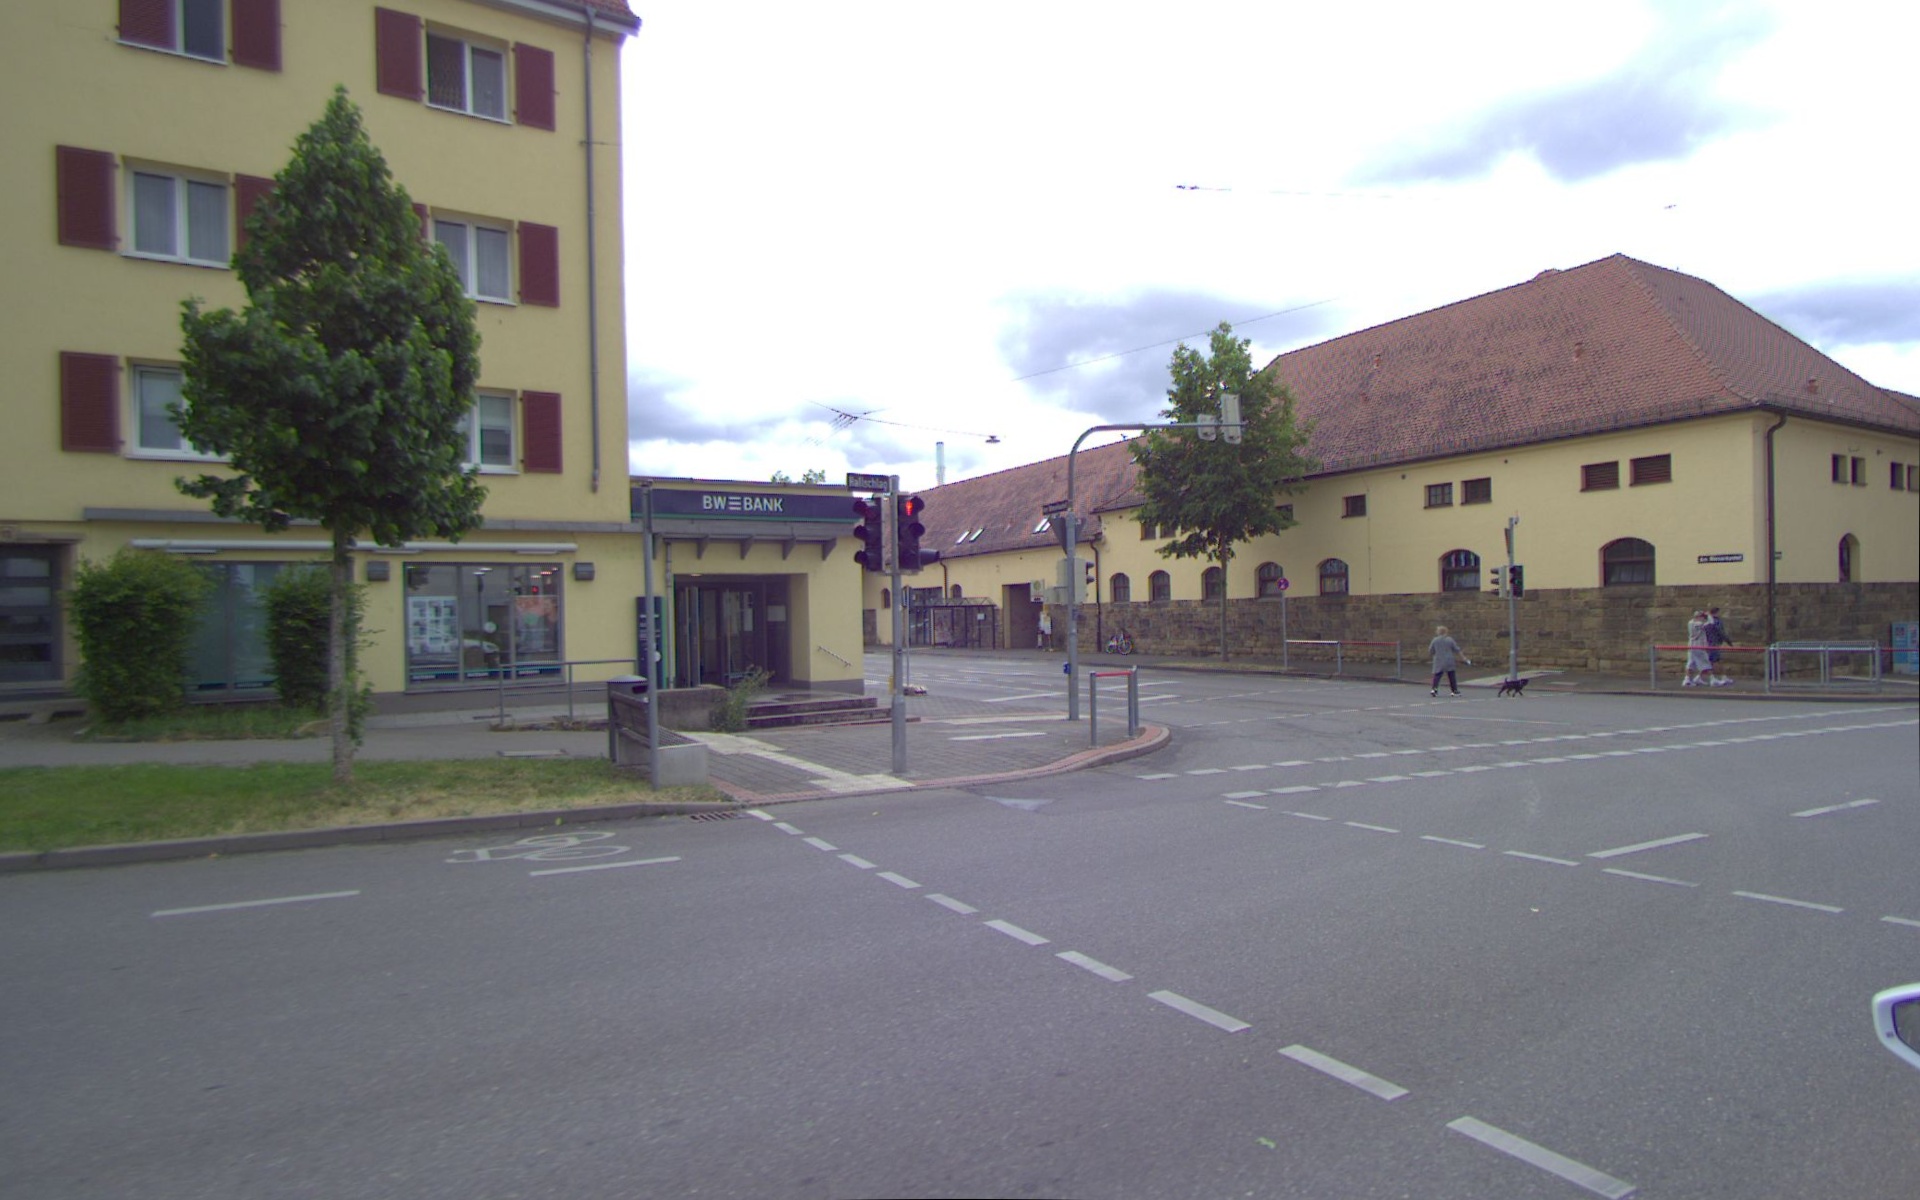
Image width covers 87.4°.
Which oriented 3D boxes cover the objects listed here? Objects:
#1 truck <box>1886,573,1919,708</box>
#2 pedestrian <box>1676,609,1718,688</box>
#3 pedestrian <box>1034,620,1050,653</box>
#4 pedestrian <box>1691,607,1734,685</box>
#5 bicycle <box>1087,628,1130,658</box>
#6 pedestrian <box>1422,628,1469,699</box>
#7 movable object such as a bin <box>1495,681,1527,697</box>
[{"bbox_3d":[20.705,0.733,18.292,6.296,2.459,2.299,0,-2,-11],"label":"truck"},{"bbox_3d":[17.052,1.107,23.248,0.709,1.800,0.561,1,-1,-31],"label":"pedestrian"},{"bbox_3d":[4.368,1.943,53.601,0.638,1.773,0.776,1,-1,-12],"label":"pedestrian"},{"bbox_3d":[17.735,1.077,23.675,0.832,1.800,0.561,1,-1,-31],"label":"pedestrian"},{"bbox_3d":[6.625,1.887,44.928,0.509,1.283,2.303,1,-1,-32],"label":"bicycle"},{"bbox_3d":[11.067,1.430,22.896,0.831,1.587,0.562,1,-1,-25],"label":"pedestrian"},{"bbox_3d":[12.466,2.014,22.724,0.569,0.352,0.307,1,-1,2],"label":"movable object such as a bin"}]
